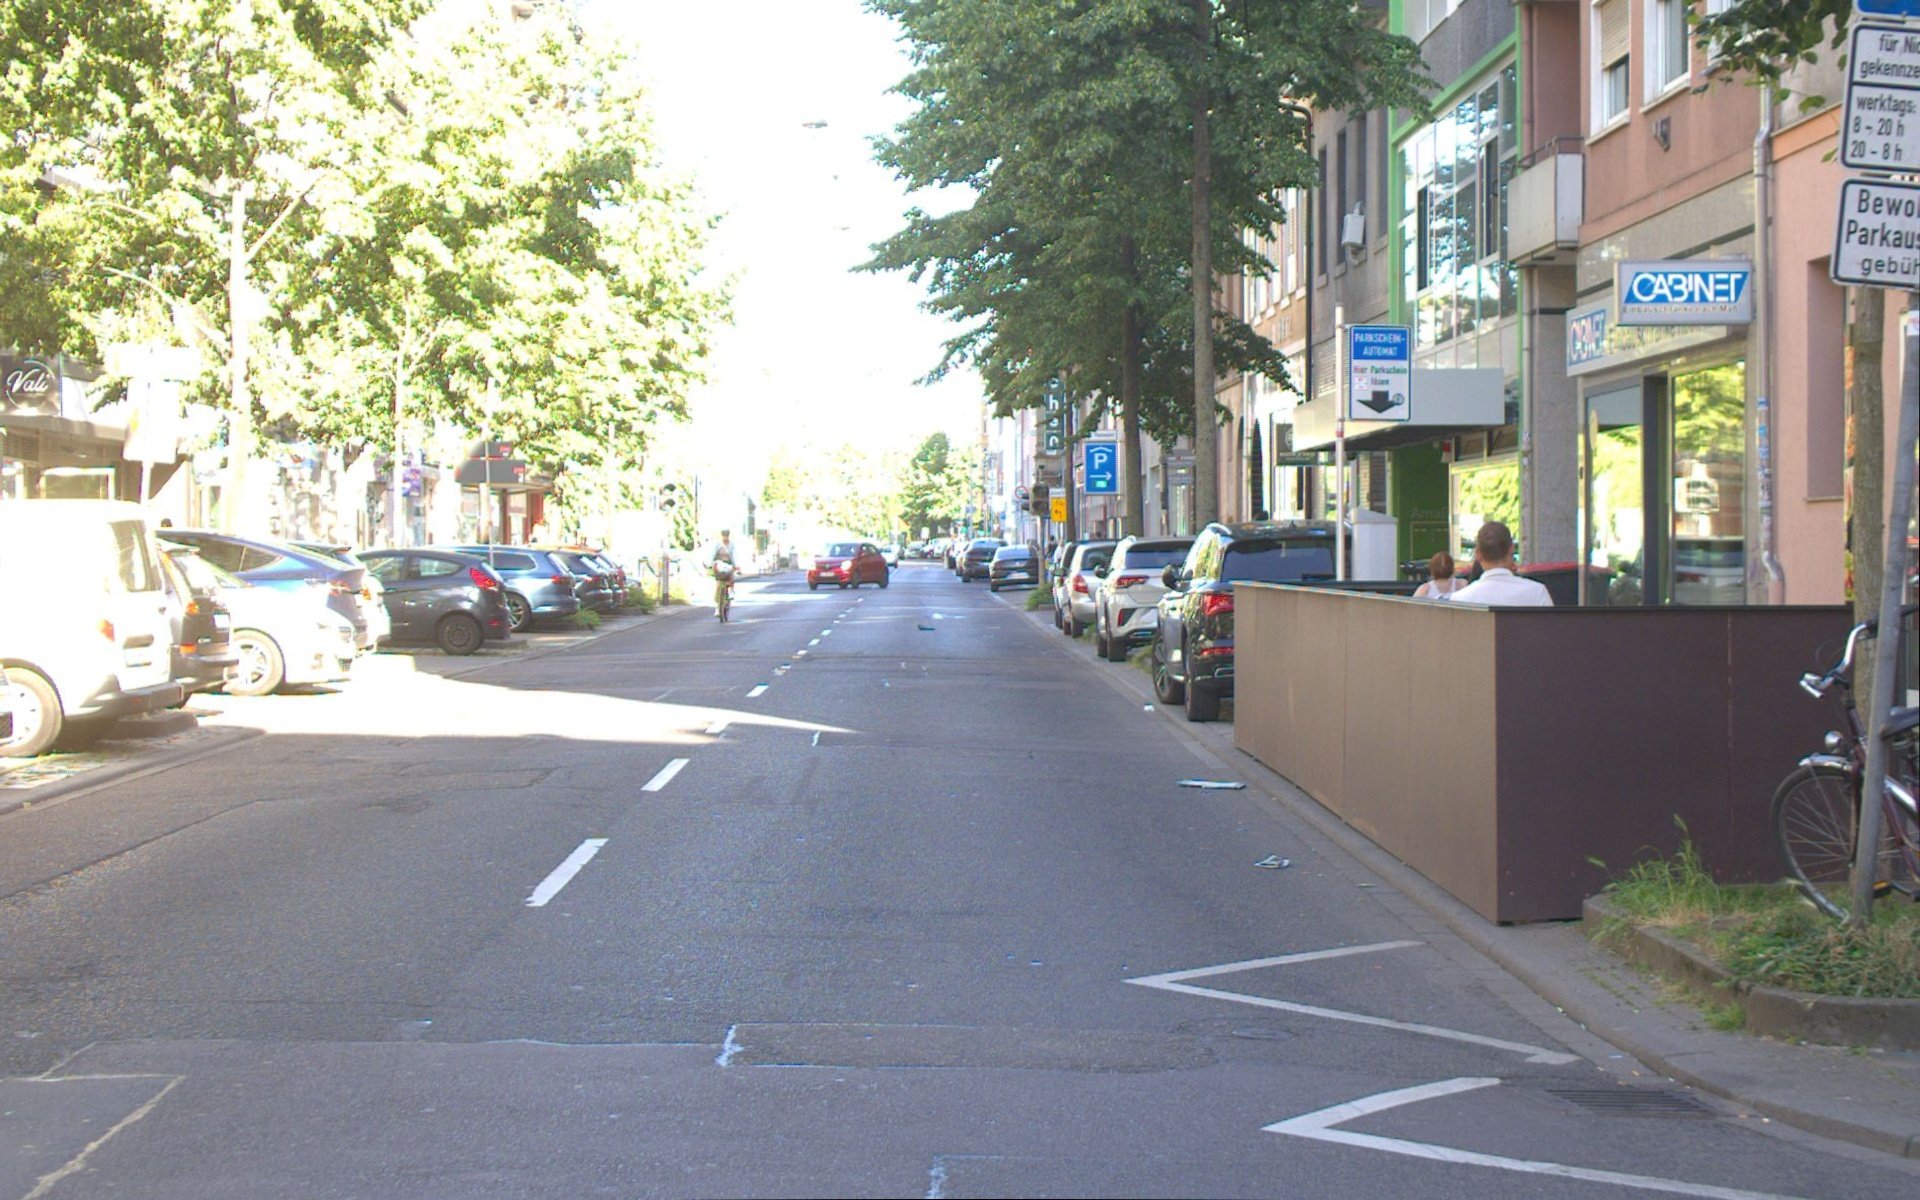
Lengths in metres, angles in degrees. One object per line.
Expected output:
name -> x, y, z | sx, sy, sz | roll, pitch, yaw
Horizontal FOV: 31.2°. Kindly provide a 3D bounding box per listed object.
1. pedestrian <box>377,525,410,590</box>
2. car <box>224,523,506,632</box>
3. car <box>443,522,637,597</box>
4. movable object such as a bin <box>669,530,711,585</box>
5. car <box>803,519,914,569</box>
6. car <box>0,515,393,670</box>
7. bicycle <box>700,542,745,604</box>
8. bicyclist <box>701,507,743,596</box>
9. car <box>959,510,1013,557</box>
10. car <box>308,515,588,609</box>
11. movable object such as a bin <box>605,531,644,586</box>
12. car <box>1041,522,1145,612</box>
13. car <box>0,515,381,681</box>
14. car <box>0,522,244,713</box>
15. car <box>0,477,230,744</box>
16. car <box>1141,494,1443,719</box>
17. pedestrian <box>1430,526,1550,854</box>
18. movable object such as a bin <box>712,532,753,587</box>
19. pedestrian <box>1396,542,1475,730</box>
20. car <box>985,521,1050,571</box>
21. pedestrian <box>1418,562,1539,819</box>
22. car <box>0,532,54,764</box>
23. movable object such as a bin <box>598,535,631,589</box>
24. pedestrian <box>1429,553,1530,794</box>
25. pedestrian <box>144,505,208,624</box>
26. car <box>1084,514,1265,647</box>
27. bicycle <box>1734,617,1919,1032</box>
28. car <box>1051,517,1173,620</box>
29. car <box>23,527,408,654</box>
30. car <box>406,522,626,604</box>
pedestrian -> -12.492, -0.933, 75.800 | 0.508, 1.403, 0.825 | 1, 2, 4
car -> -8.206, -0.321, 47.663 | 3.779, 1.453, 1.781 | 0, 1, -8
car -> -8.555, -0.831, 70.230 | 3.748, 1.463, 1.740 | 1, 1, -1
movable object such as a bin -> -7.235, -1.138, 92.219 | 1.042, 1.466, 1.143 | 0, 1, -2
car -> -3.292, -1.846, 112.055 | 1.661, 1.530, 3.753 | -1, 1, 35
car -> -8.334, -0.099, 36.290 | 4.366, 1.565, 1.980 | 0, 1, 0
bicycle -> -4.591, -0.527, 66.481 | 0.725, 1.165, 2.197 | 0, 1, 0
bicyclist -> -4.591, -0.941, 66.383 | 0.725, 1.694, 1.282 | 0, 1, 0
car -> 0.978, -2.564, 131.295 | 1.973, 1.719, 4.824 | 1, 1, 0
car -> -8.669, -0.654, 58.481 | 4.492, 1.453, 1.790 | 2, 1, -2
movable object such as a bin -> -8.991, -1.111, 92.222 | 0.964, 1.466, 1.143 | 0, 1, -2
car -> 2.367, -0.606, 61.740 | 1.613, 1.523, 3.061 | -2, 1, -1
car -> -8.063, -0.046, 33.920 | 4.366, 1.565, 1.946 | 0, 1, 0
car -> -8.151, 0.118, 29.109 | 3.799, 1.553, 1.792 | 0, 1, 0
car -> -7.565, 0.021, 24.897 | 4.105, 1.830, 2.039 | 1, 1, 0
car -> 2.774, 0.000, 29.732 | 1.993, 1.684, 4.517 | -3, 1, -1
pedestrian -> 2.496, 0.415, 16.219 | 0.472, 1.524, 0.462 | 1, 1, 0
movable object such as a bin -> -6.097, -1.092, 92.330 | 1.042, 1.466, 1.453 | 0, 1, -2
pedestrian -> 3.403, 0.250, 24.579 | 0.473, 1.326, 0.483 | 1, 1, 17
car -> 1.833, -1.768, 111.695 | 1.917, 1.473, 4.965 | -4, 1, 0
pedestrian -> 2.827, 0.483, 18.777 | 0.552, 1.374, 0.594 | 1, 1, 0
car -> -8.067, 0.271, 22.083 | 3.979, 1.459, 1.887 | 1, 1, 0
movable object such as a bin -> -8.565, -0.954, 85.341 | 0.754, 1.336, 0.805 | 0, 1, -2
pedestrian -> 2.984, 0.411, 19.764 | 0.472, 1.357, 0.594 | 1, 1, 0
pedestrian -> -11.928, -0.541, 52.331 | 0.699, 1.791, 0.745 | 0, 1, 11
car -> 2.664, -0.282, 43.527 | 1.883, 1.521, 4.234 | -2, 1, -1
bicycle -> 3.046, 0.667, 11.203 | 0.507, 1.159, 2.145 | 0, 1, -1
car -> 2.441, -0.534, 55.898 | 1.613, 1.523, 4.235 | -3, 1, -1
car -> -8.812, -0.130, 40.960 | 4.244, 1.453, 1.981 | 0, 1, -4
car -> -8.392, -0.716, 65.190 | 3.919, 1.480, 1.771 | 1, 1, 1
